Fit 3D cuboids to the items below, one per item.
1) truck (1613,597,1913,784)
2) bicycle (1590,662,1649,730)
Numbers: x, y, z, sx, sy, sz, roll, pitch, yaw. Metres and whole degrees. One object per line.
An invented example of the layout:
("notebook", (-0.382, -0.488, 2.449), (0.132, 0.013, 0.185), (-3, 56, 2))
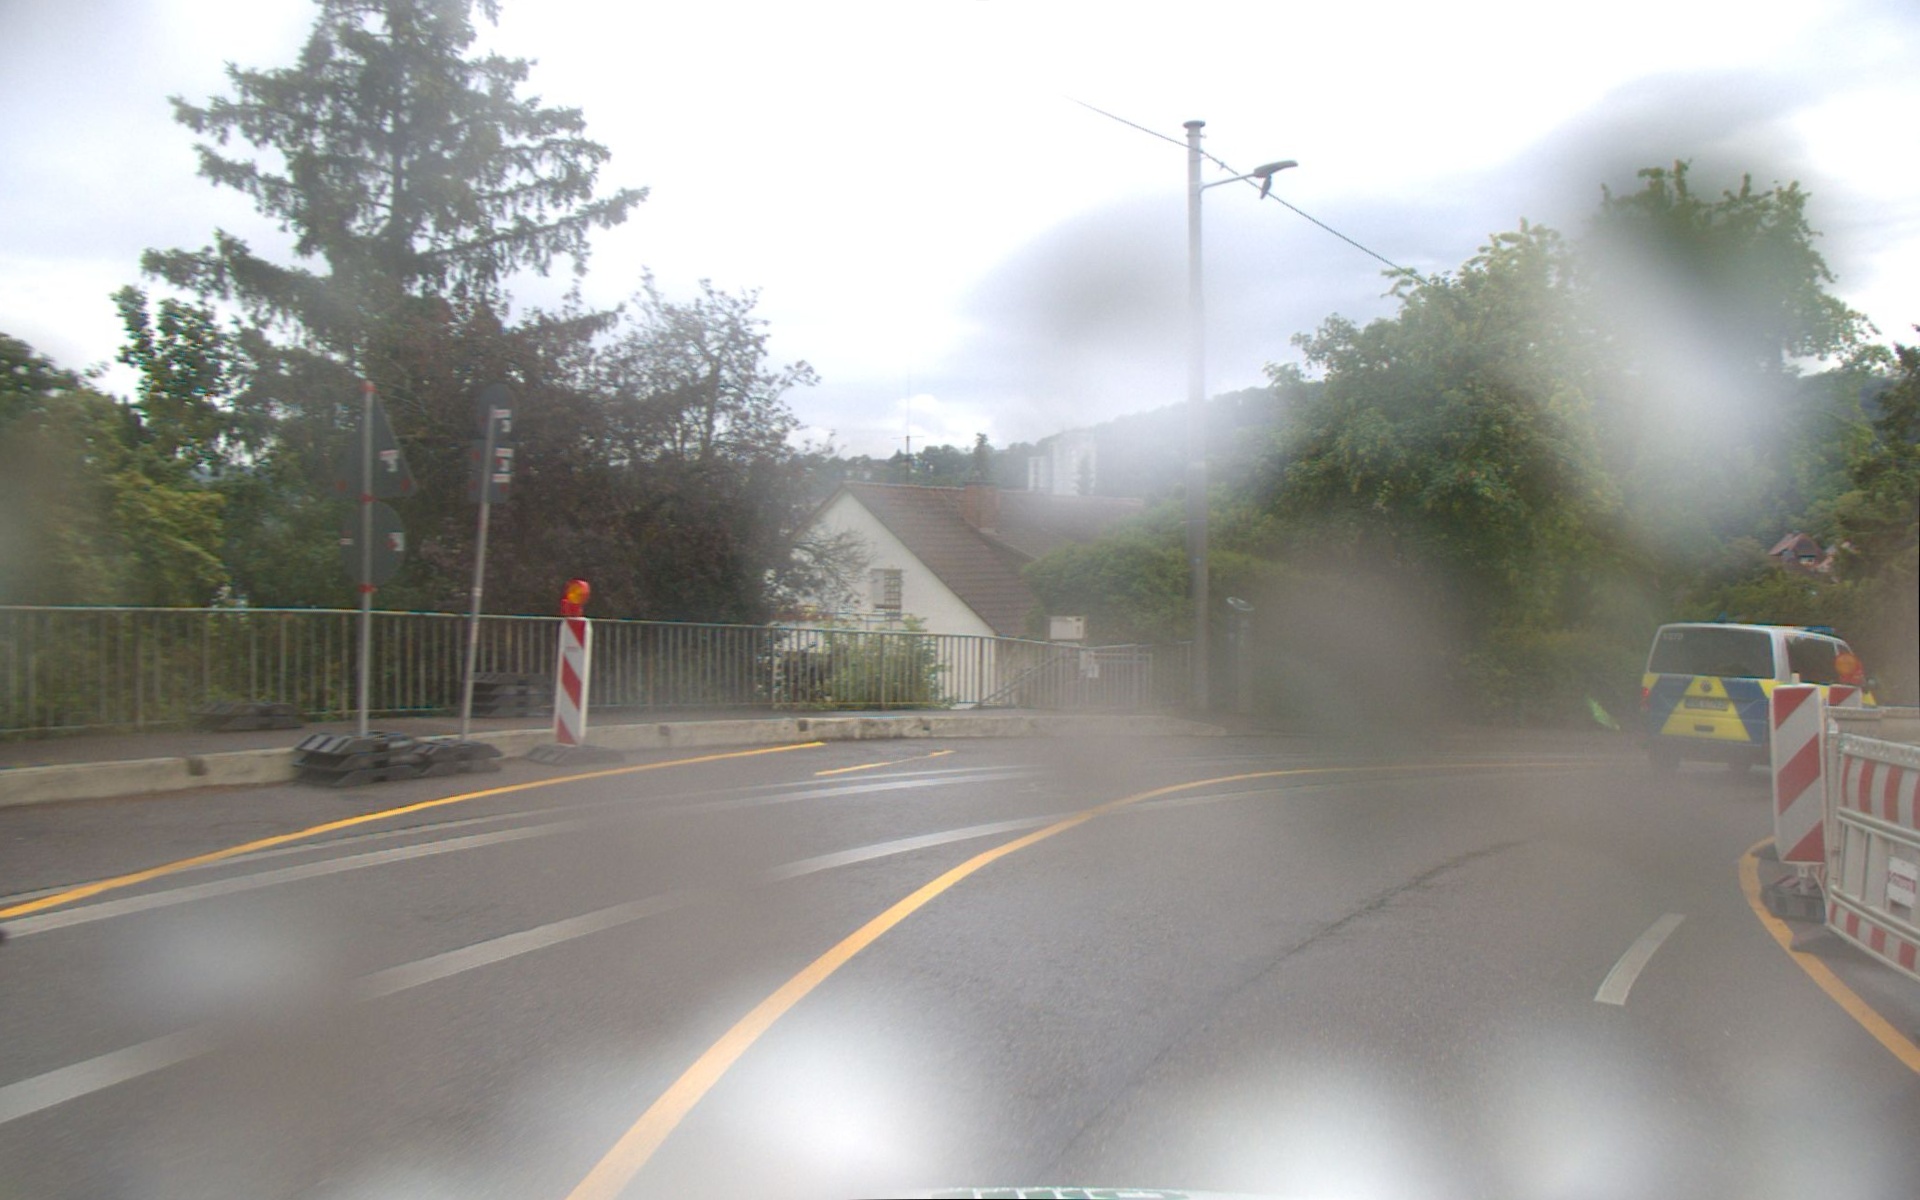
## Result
("truck", (10.701, 1.070, 21.878), (4.696, 2.048, 1.969), (-3, 1, -43))
("bicycle", (13.949, 2.029, 34.972), (1.728, 1.373, 0.415), (5, -3, -43))
